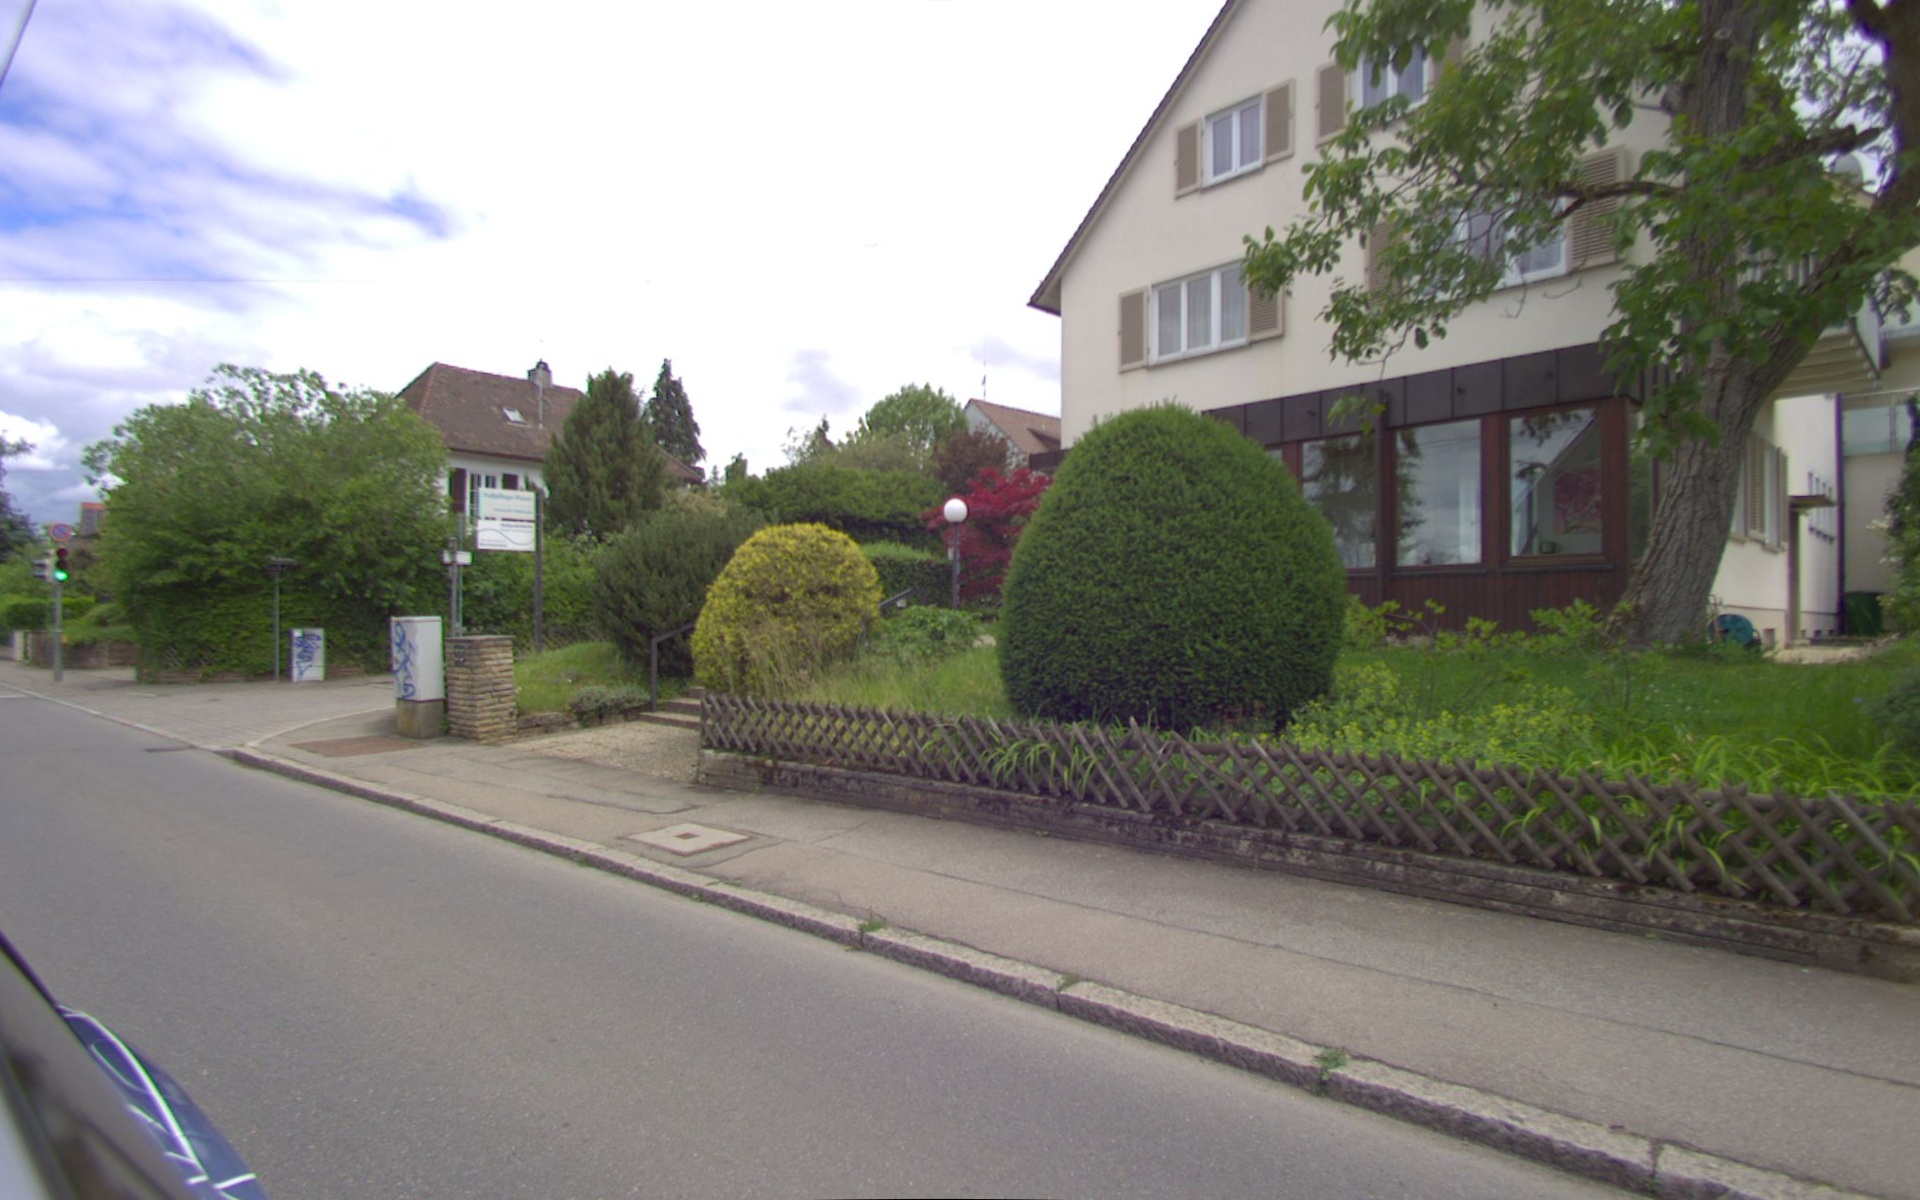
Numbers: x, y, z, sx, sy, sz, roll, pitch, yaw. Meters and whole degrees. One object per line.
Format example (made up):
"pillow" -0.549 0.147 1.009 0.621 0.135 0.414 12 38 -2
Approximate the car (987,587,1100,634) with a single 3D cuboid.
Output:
"car" 2.955 0.347 35.228 3.941 1.499 1.745 -1 0 -44
